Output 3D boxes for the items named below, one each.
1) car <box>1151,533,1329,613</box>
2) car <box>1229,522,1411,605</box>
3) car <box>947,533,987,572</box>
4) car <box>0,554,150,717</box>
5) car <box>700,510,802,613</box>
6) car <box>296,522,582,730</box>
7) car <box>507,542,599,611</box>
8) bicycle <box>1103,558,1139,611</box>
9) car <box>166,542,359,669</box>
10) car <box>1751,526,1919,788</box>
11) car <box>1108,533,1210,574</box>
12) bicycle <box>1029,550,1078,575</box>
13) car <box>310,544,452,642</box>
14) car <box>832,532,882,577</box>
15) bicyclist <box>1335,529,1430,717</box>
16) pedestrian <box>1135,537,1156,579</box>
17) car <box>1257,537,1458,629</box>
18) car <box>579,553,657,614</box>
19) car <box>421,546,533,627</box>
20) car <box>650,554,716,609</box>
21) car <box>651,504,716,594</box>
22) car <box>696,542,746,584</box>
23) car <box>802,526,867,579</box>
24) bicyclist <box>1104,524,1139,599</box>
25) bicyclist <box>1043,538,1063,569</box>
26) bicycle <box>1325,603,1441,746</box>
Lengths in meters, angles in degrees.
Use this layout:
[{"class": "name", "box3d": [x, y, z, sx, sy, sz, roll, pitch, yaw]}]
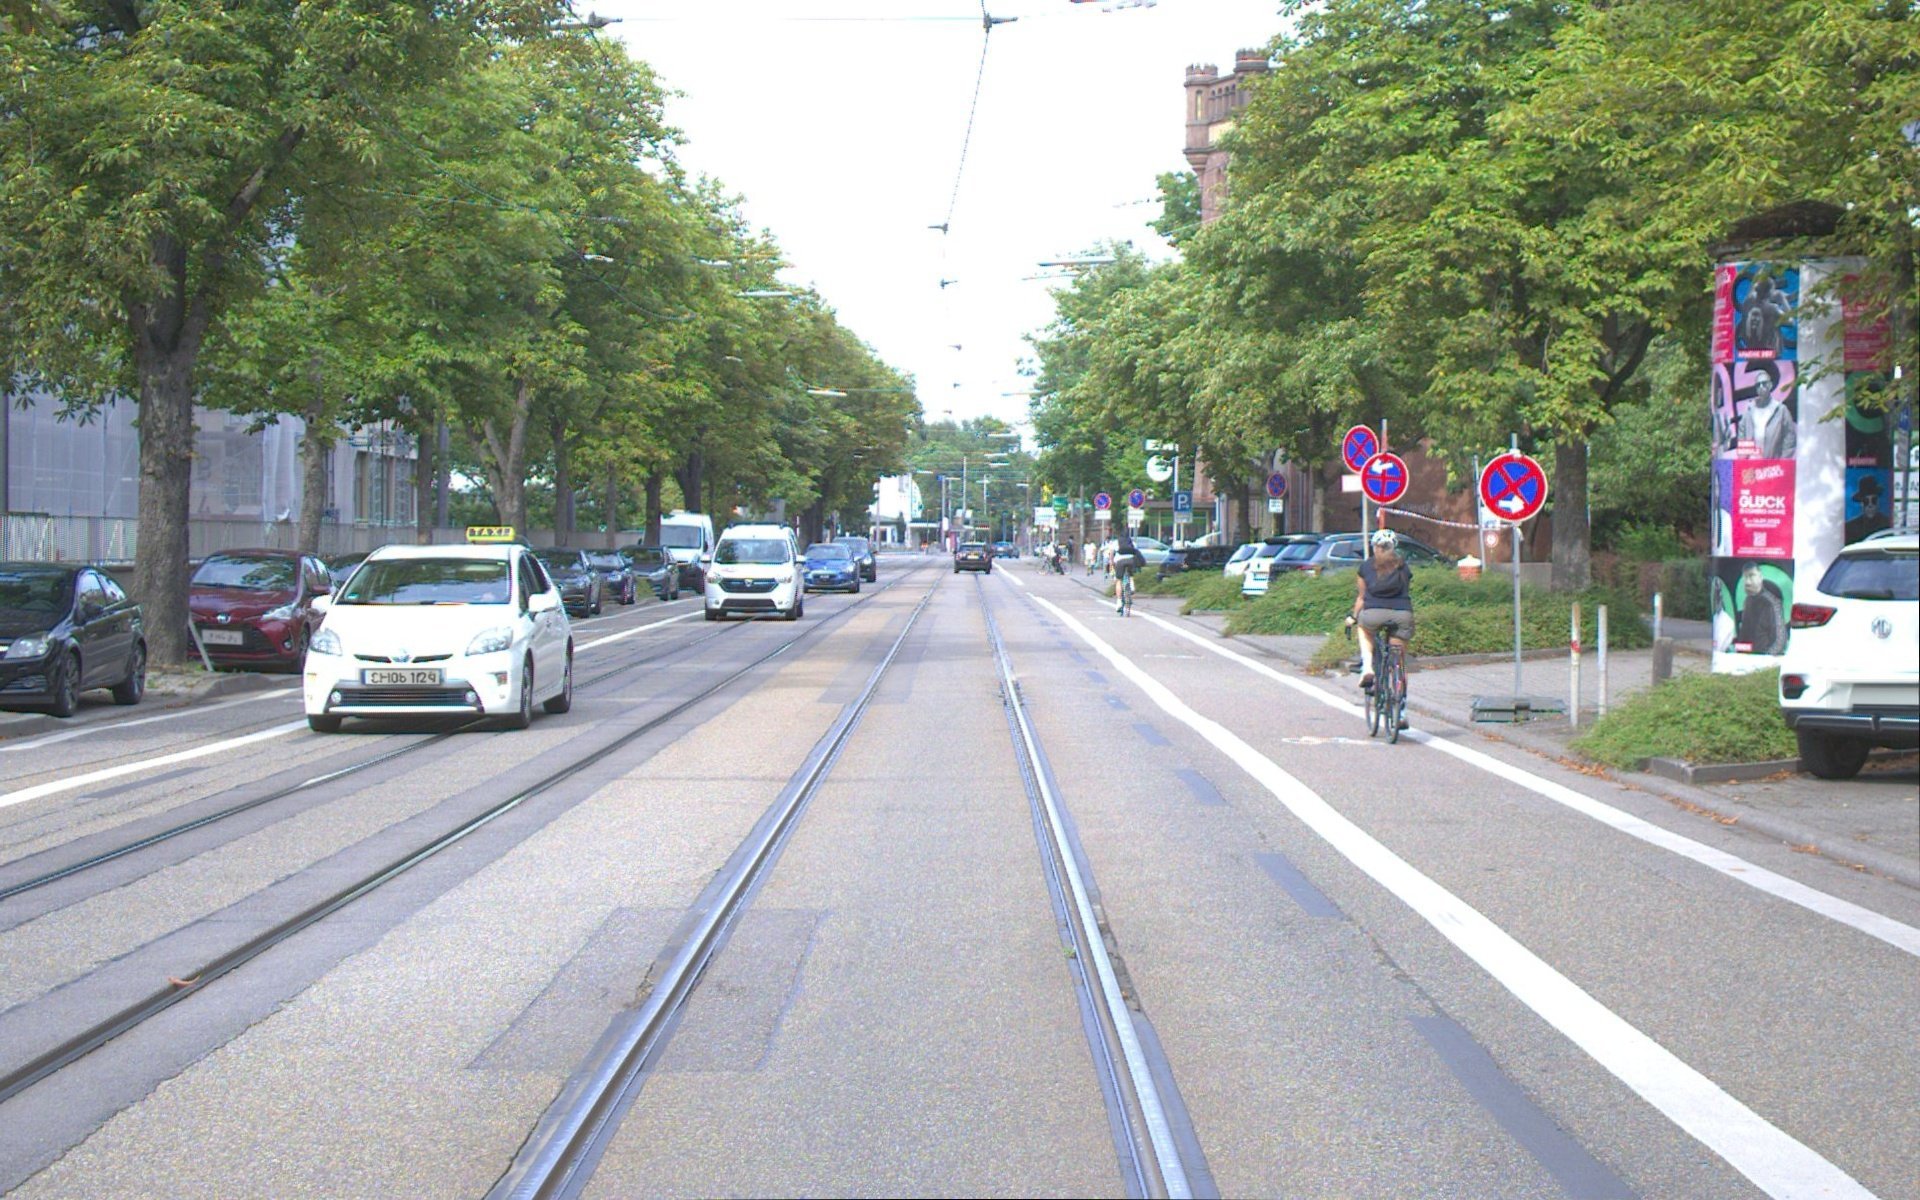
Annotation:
[{"class": "car", "box3d": [5.760, -0.551, 70.540, 1.681, 1.597, 3.637, 1, 1, 45]}, {"class": "car", "box3d": [7.172, -0.718, 68.391, 1.681, 1.597, 3.637, 1, 1, 45]}, {"class": "car", "box3d": [0.316, -2.289, 163.804, 1.795, 1.817, 4.679, 1, 1, -1]}, {"class": "car", "box3d": [-8.805, 0.288, 32.260, 1.590, 1.398, 3.963, 1, 1, -2]}, {"class": "car", "box3d": [-3.954, -0.757, 65.560, 1.732, 1.878, 4.378, 1, 1, -1]}, {"class": "car", "box3d": [-4.271, 0.157, 28.792, 1.732, 1.607, 4.334, 0, 1, 0]}, {"class": "car", "box3d": [-8.580, -0.518, 72.727, 1.590, 1.398, 3.963, 1, 1, -2]}, {"class": "bicycle", "box3d": [3.244, -0.323, 69.367, 0.663, 1.040, 1.841, 1, 1, 1]}, {"class": "car", "box3d": [-8.650, 0.029, 42.917, 1.635, 1.491, 3.963, 1, 1, -1]}, {"class": "car", "box3d": [6.914, 0.341, 22.555, 1.681, 1.597, 3.637, 1, 1, 45]}, {"class": "car", "box3d": [8.370, -1.967, 144.752, 3.986, 1.687, 2.000, 1, 1, -5]}, {"class": "bicycle", "box3d": [4.539, -1.806, 167.007, 2.275, 1.185, 0.768, 1, 1, 8]}, {"class": "car", "box3d": [-8.739, -0.128, 52.118, 1.590, 1.398, 3.963, 1, 1, -2]}, {"class": "car", "box3d": [-3.773, -1.688, 126.216, 1.732, 1.623, 4.378, -1, 1, -1]}, {"class": "bicyclist", "box3d": [3.336, 0.171, 27.177, 0.592, 1.454, 0.875, 1, 1, -2]}, {"class": "pedestrian", "box3d": [7.799, -1.758, 144.462, 0.748, 1.783, 0.730, 1, 0, 15]}, {"class": "car", "box3d": [7.148, -0.314, 61.596, 1.681, 1.597, 3.637, 1, 1, 45]}, {"class": "car", "box3d": [-8.233, -0.424, 82.949, 1.590, 1.398, 3.963, 1, 1, -2]}, {"class": "car", "box3d": [-8.735, -0.270, 62.429, 1.590, 1.398, 3.963, 1, 1, -2]}, {"class": "car", "box3d": [-7.479, -0.514, 93.143, 1.590, 1.398, 3.963, 1, 1, -2]}, {"class": "car", "box3d": [-8.540, -1.576, 106.485, 1.720, 2.695, 5.471, 1, 1, -2]}, {"class": "car", "box3d": [-8.251, -1.299, 118.975, 1.590, 1.398, 3.963, 1, 1, -2]}, {"class": "car", "box3d": [-3.677, -1.418, 101.309, 1.732, 1.491, 4.378, 0, 1, 0]}, {"class": "bicyclist", "box3d": [3.254, -0.781, 69.362, 0.659, 1.491, 0.929, 1, 1, 1]}, {"class": "bicyclist", "box3d": [4.509, -2.273, 167.009, 0.847, 1.499, 0.768, 1, 1, 8]}, {"class": "bicycle", "box3d": [3.328, 0.571, 27.182, 0.592, 1.040, 1.978, 1, 1, -2]}]
